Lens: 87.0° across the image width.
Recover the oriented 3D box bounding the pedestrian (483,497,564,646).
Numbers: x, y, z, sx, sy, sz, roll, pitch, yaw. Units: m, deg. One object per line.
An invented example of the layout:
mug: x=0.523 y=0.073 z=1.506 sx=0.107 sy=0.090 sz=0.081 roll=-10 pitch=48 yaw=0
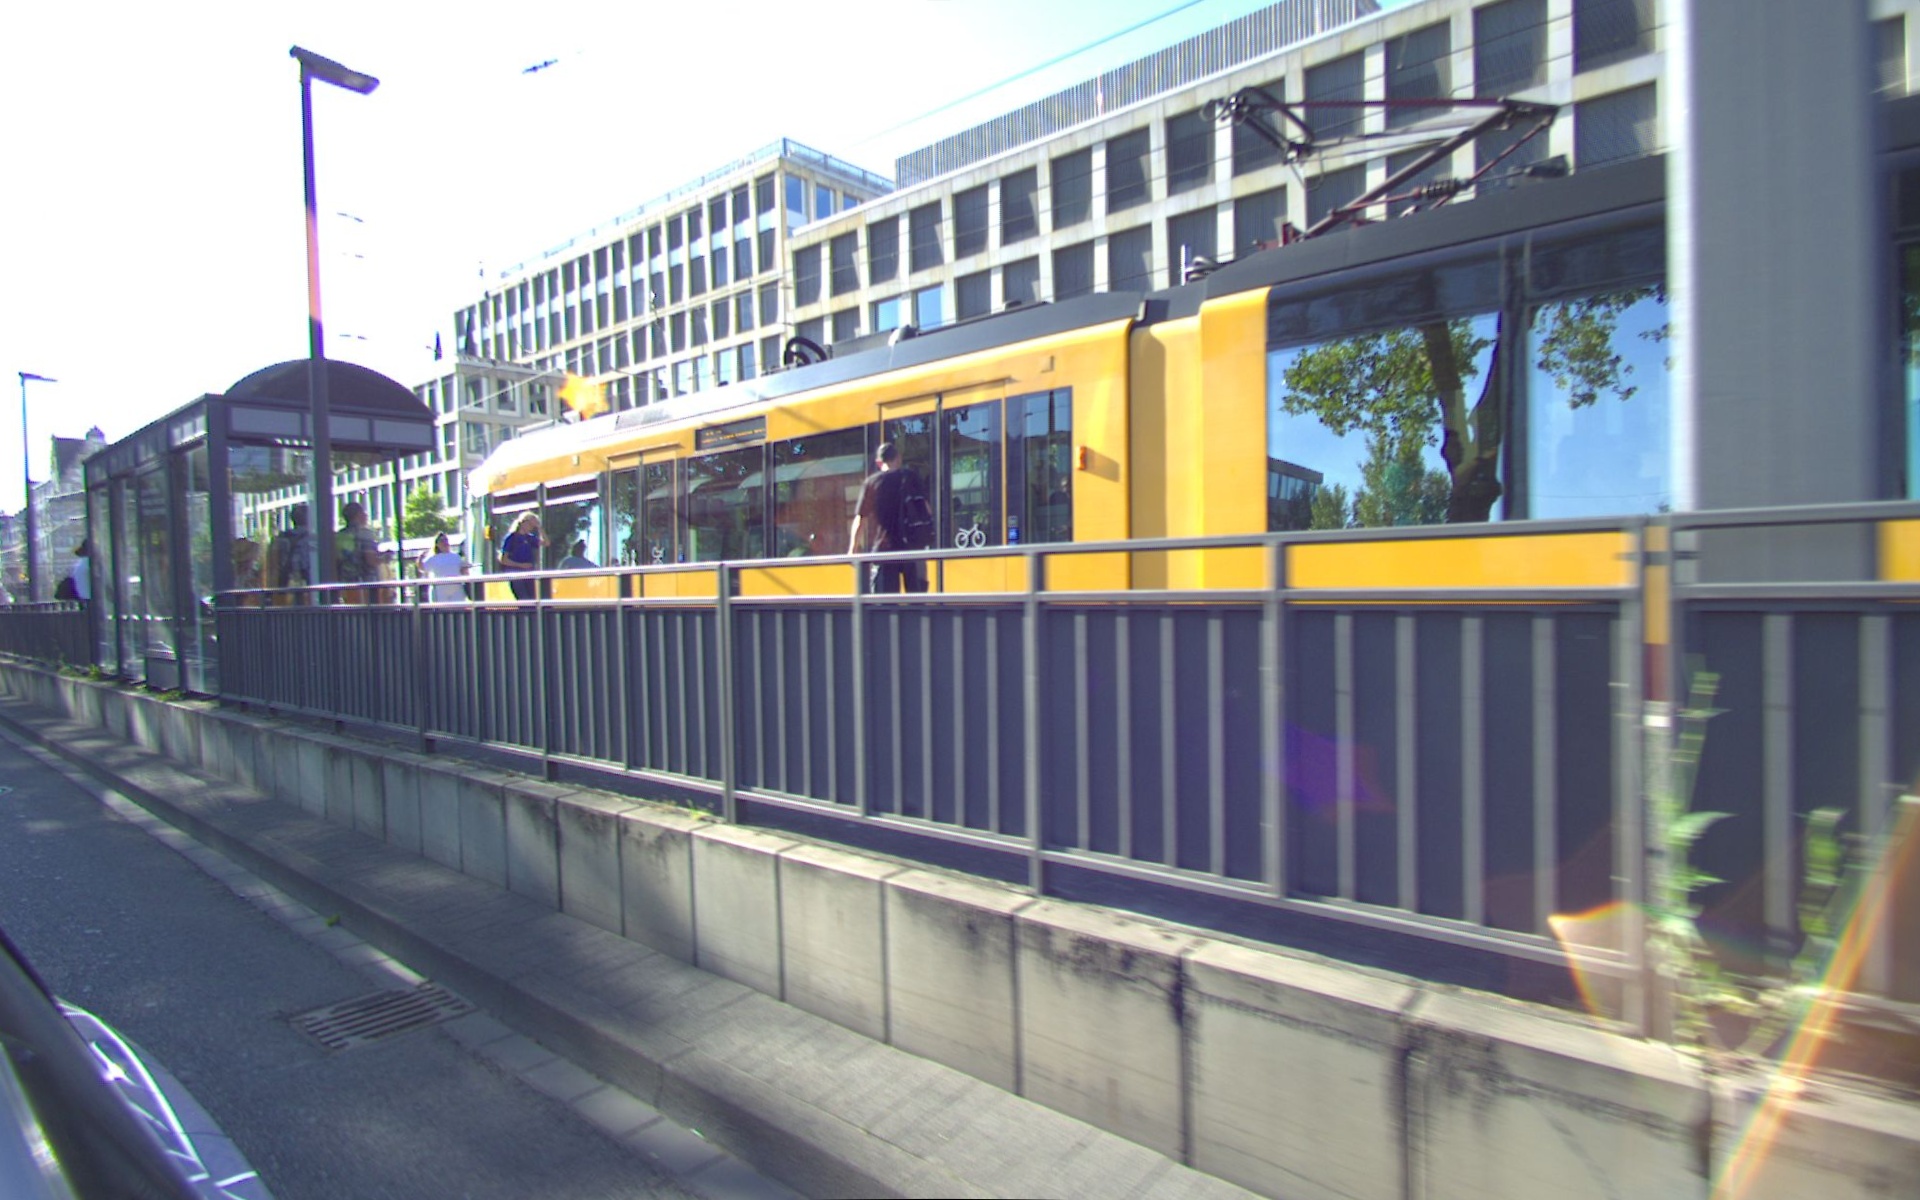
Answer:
pedestrian: x=-5.497 y=-0.350 z=12.738 sx=0.775 sy=1.797 sz=0.605 roll=-1 pitch=1 yaw=41

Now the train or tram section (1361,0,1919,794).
train or tram section: x=8.079 y=-1.127 z=3.693 sx=11.836 sy=3.858 sz=3.275 roll=-1 pitch=2 yaw=41

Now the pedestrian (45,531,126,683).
pedestrian: x=-10.668 y=0.073 z=12.343 sx=0.613 sy=1.797 sz=0.605 roll=-1 pitch=1 yaw=41

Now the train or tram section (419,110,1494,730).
train or tram section: x=-1.821 y=-1.096 z=12.201 sx=14.210 sy=3.858 sz=3.275 roll=-1 pitch=2 yaw=41

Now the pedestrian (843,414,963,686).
pedestrian: x=-0.427 y=-0.358 z=7.568 sx=0.644 sy=1.919 sz=0.547 roll=-1 pitch=1 yaw=41

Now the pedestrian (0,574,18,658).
pedestrian: x=-19.140 y=0.321 z=19.937 sx=0.609 sy=1.654 sz=0.609 roll=-1 pitch=1 yaw=21

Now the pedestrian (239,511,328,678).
pedestrian: x=-7.591 y=-0.069 z=11.356 sx=0.681 sy=1.797 sz=0.603 roll=-1 pitch=1 yaw=41

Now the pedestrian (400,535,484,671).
pedestrian: x=-7.066 y=0.027 z=13.803 sx=0.625 sy=1.797 sz=0.785 roll=-1 pitch=1 yaw=41
